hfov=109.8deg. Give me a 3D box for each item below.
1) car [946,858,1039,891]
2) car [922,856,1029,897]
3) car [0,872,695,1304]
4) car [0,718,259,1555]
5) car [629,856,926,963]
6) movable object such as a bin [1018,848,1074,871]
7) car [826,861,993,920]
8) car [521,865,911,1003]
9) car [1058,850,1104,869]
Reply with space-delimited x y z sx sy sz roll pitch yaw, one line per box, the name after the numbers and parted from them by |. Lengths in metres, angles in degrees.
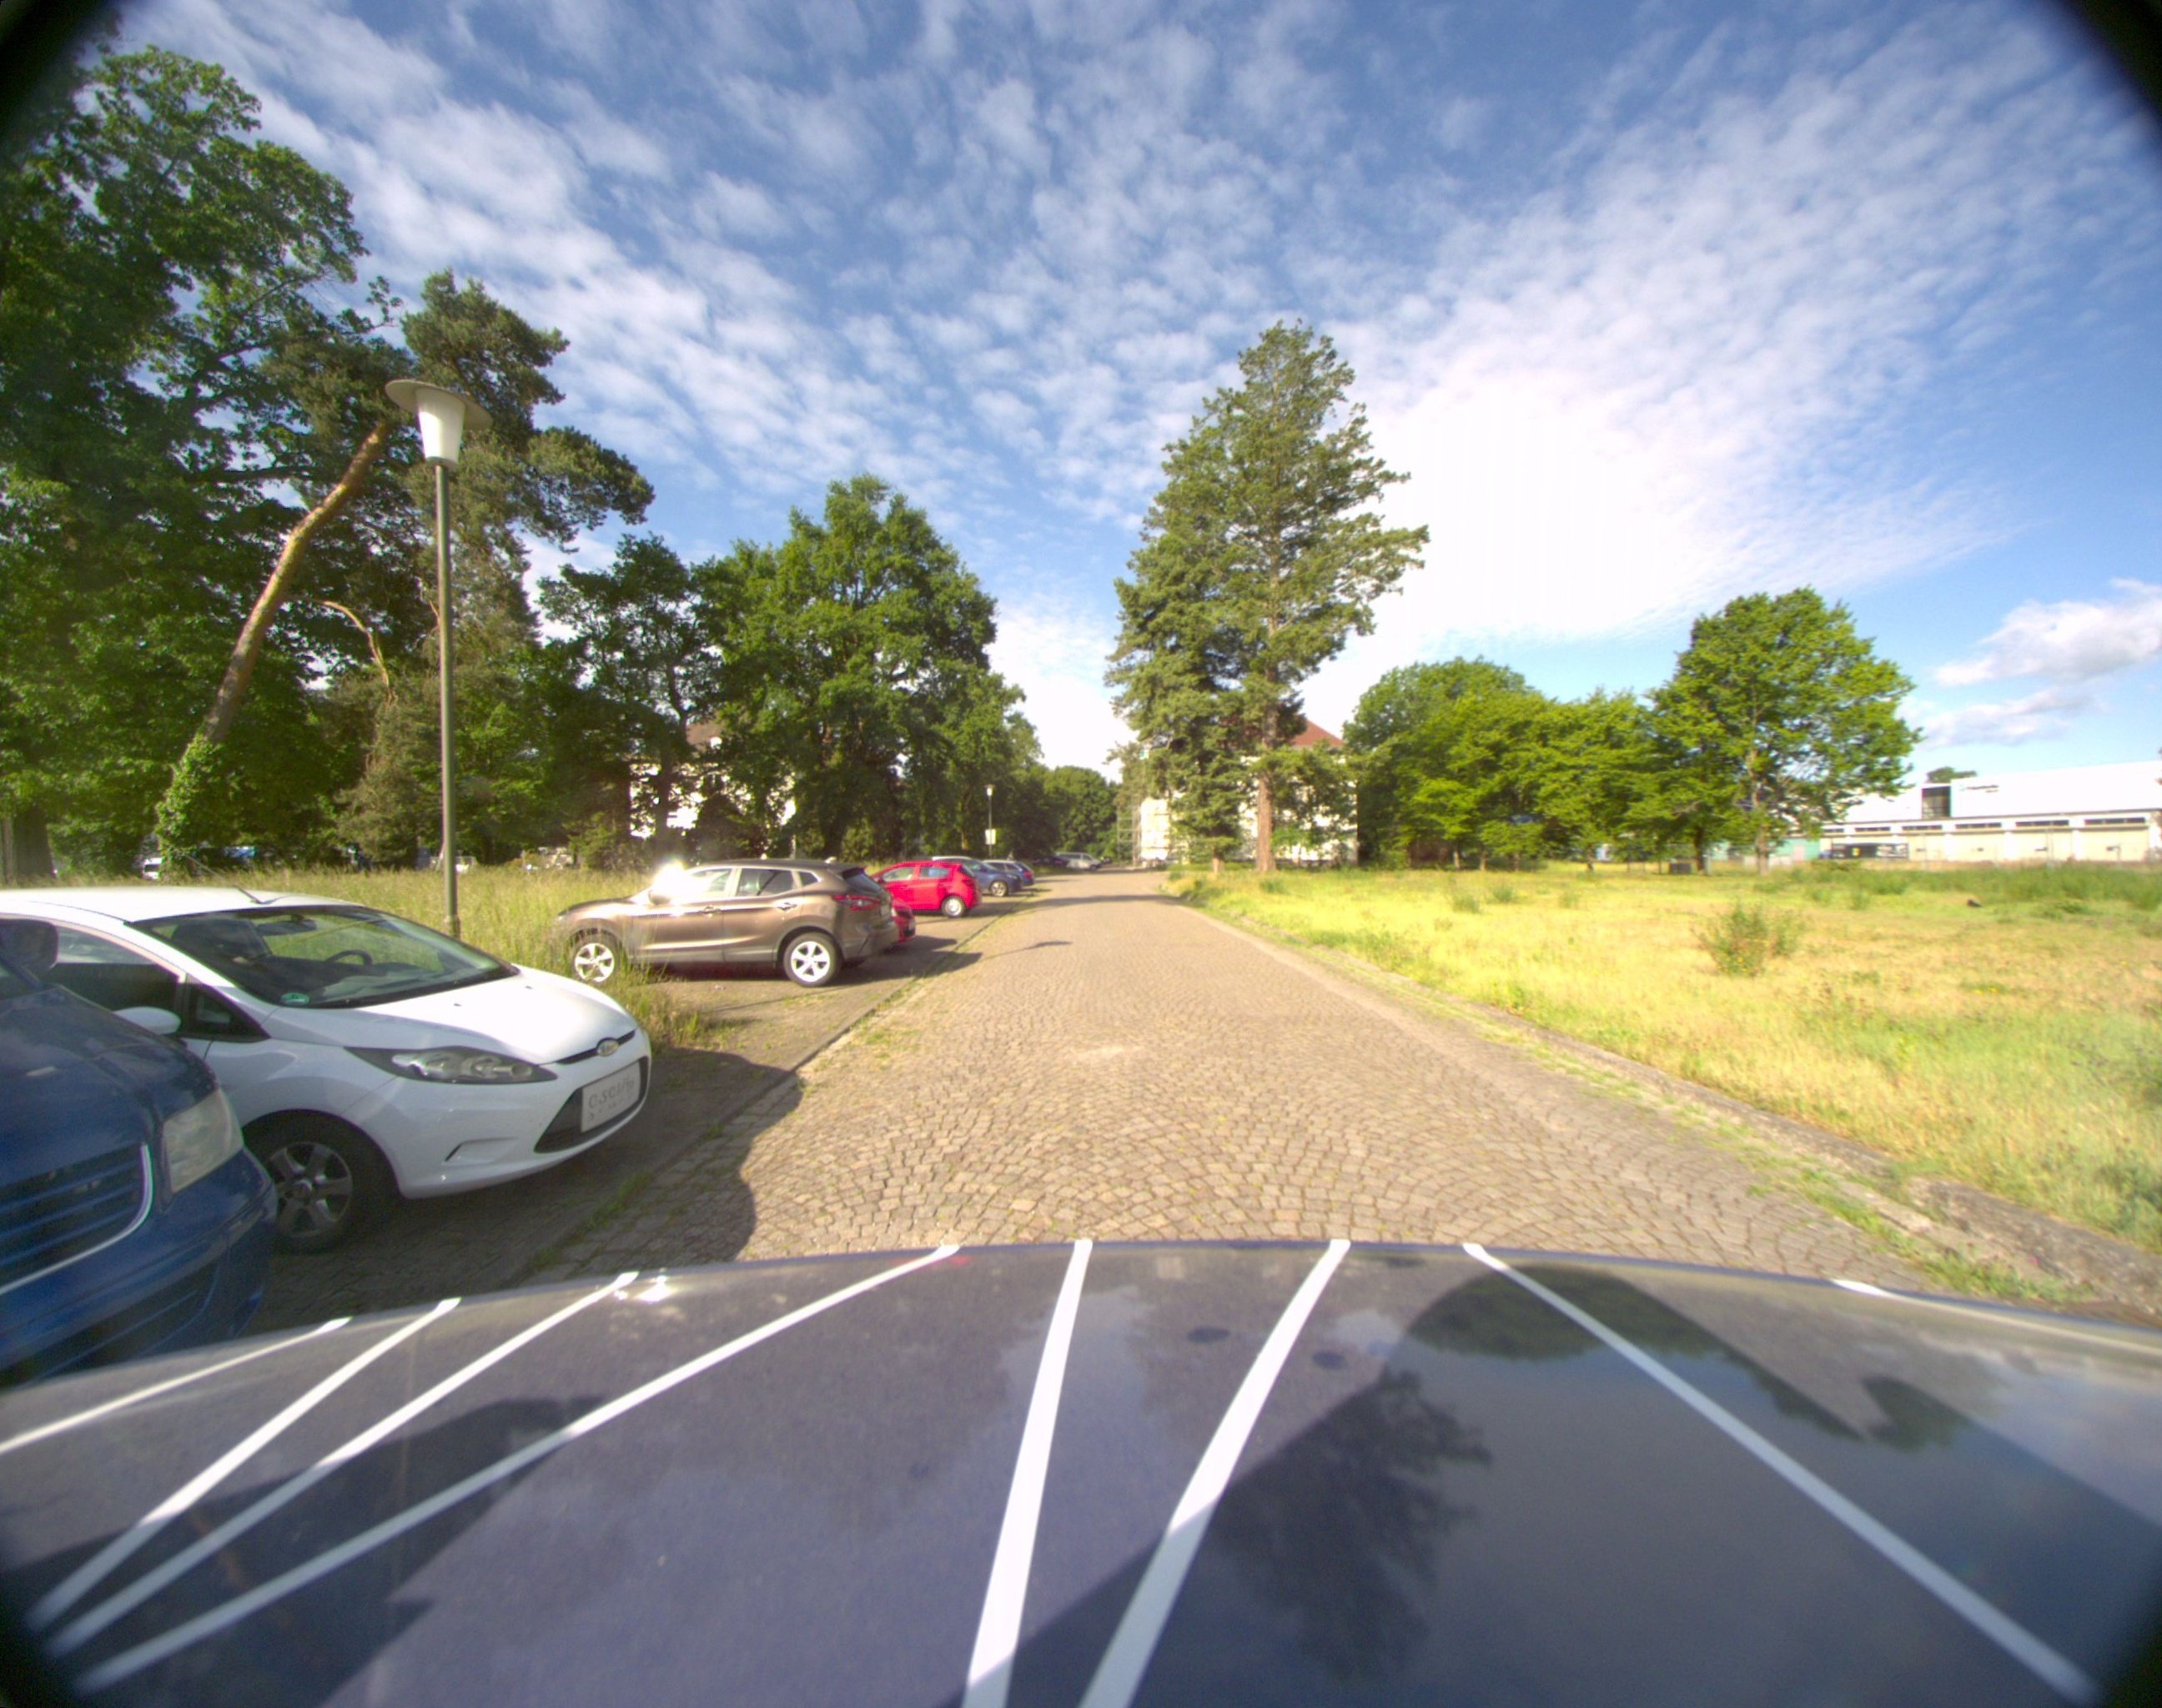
-4.079 0.951 35.441 4.098 1.415 1.784 1 0 -1 | car
-4.201 0.878 30.757 4.098 1.548 1.853 1 0 -1 | car
-4.691 0.930 3.907 4.408 1.568 1.939 1 1 0 | car
-4.833 0.624 1.284 4.710 1.924 2.000 1 1 0 | car
-4.925 0.873 12.839 4.237 1.588 1.934 1 1 -2 | car
-3.280 0.541 71.291 4.865 2.002 2.002 -1 0 13 | movable object such as a bin
-4.531 0.942 20.534 4.098 1.451 1.853 1 0 -1 | car
-4.596 0.967 10.132 4.237 1.588 1.934 0 1 -2 | car
-0.005 0.573 84.061 4.933 2.002 1.999 1 1 -6 | car
